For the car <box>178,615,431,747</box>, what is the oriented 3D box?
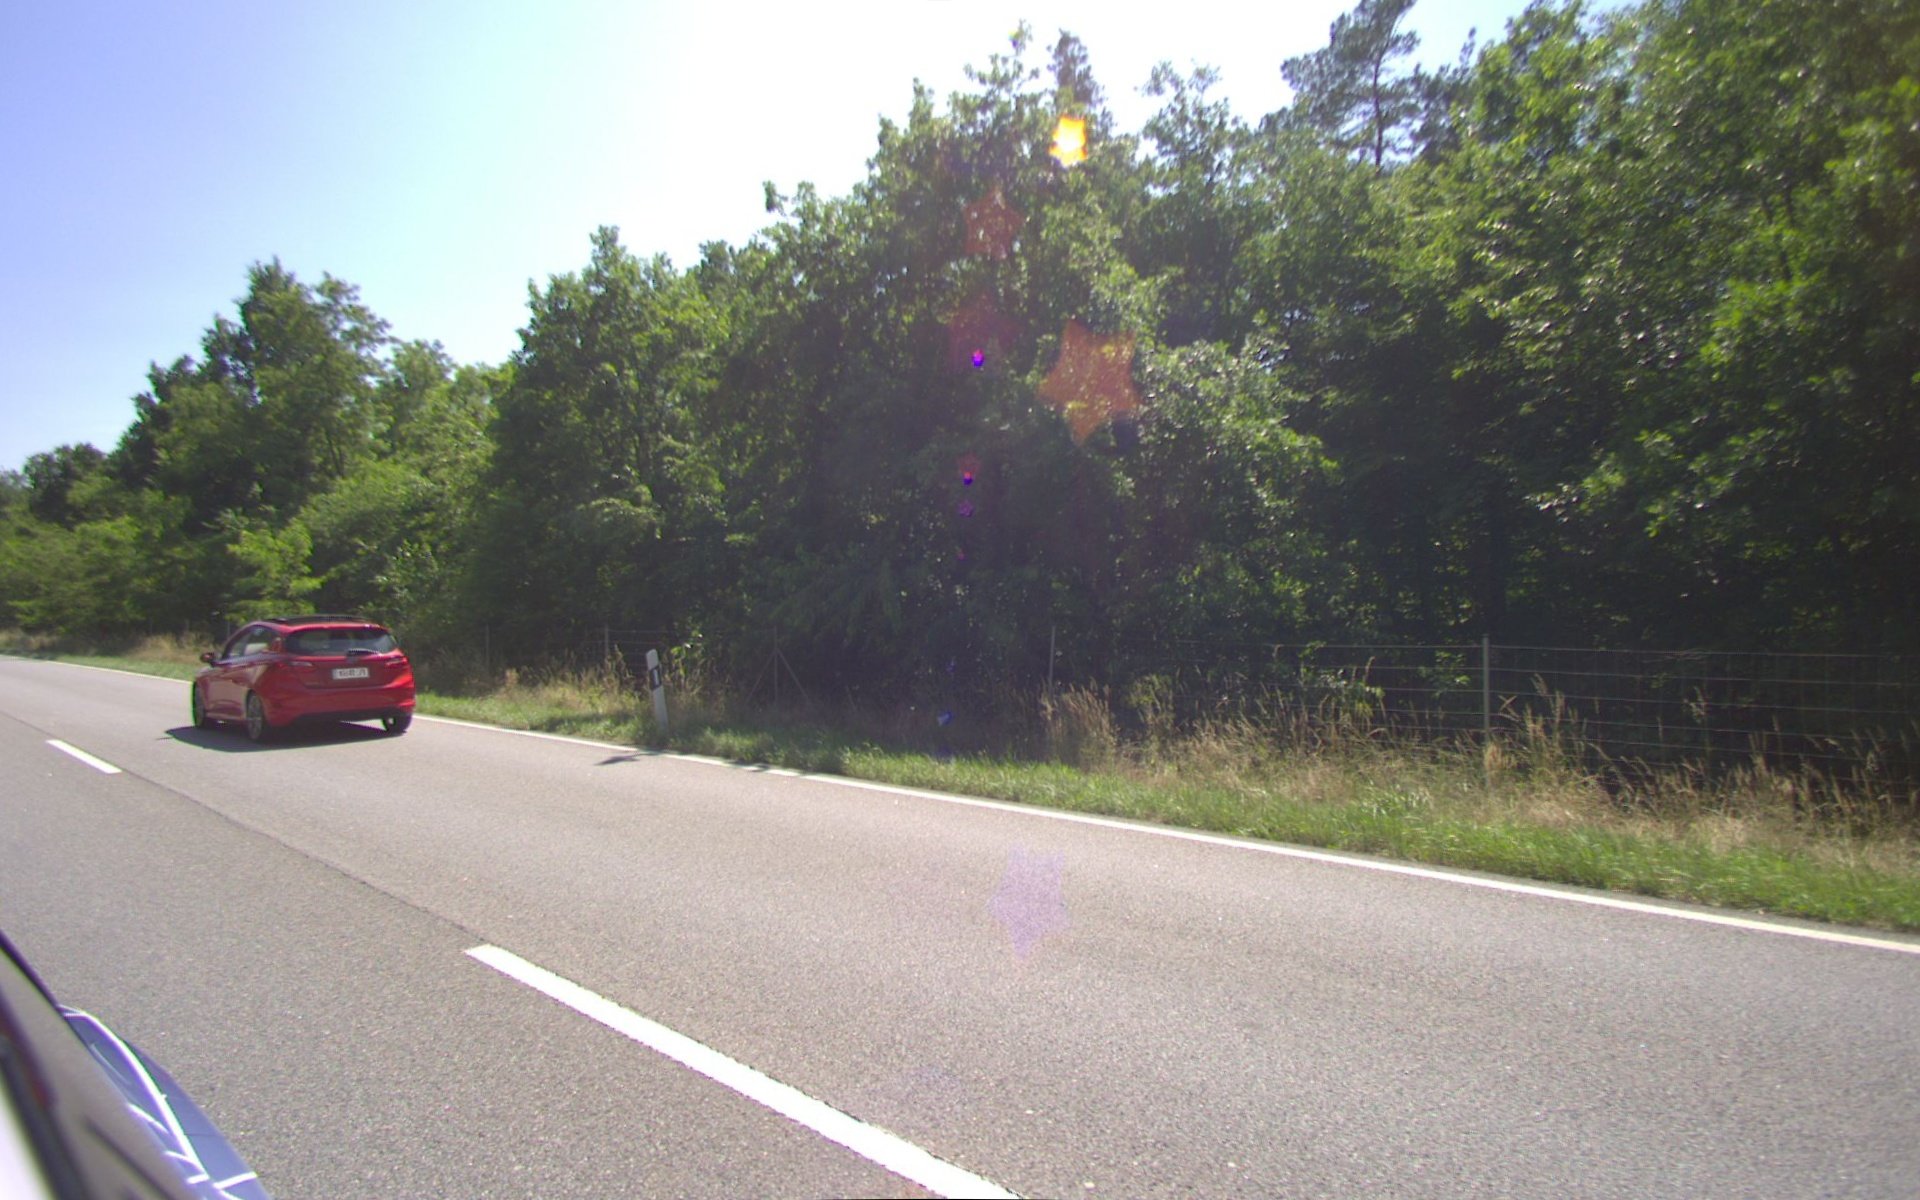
[{"bbox_3d":[-8.558,0.938,13.113,3.791,1.463,1.761,-1,-2,41],"label":"car"}]
